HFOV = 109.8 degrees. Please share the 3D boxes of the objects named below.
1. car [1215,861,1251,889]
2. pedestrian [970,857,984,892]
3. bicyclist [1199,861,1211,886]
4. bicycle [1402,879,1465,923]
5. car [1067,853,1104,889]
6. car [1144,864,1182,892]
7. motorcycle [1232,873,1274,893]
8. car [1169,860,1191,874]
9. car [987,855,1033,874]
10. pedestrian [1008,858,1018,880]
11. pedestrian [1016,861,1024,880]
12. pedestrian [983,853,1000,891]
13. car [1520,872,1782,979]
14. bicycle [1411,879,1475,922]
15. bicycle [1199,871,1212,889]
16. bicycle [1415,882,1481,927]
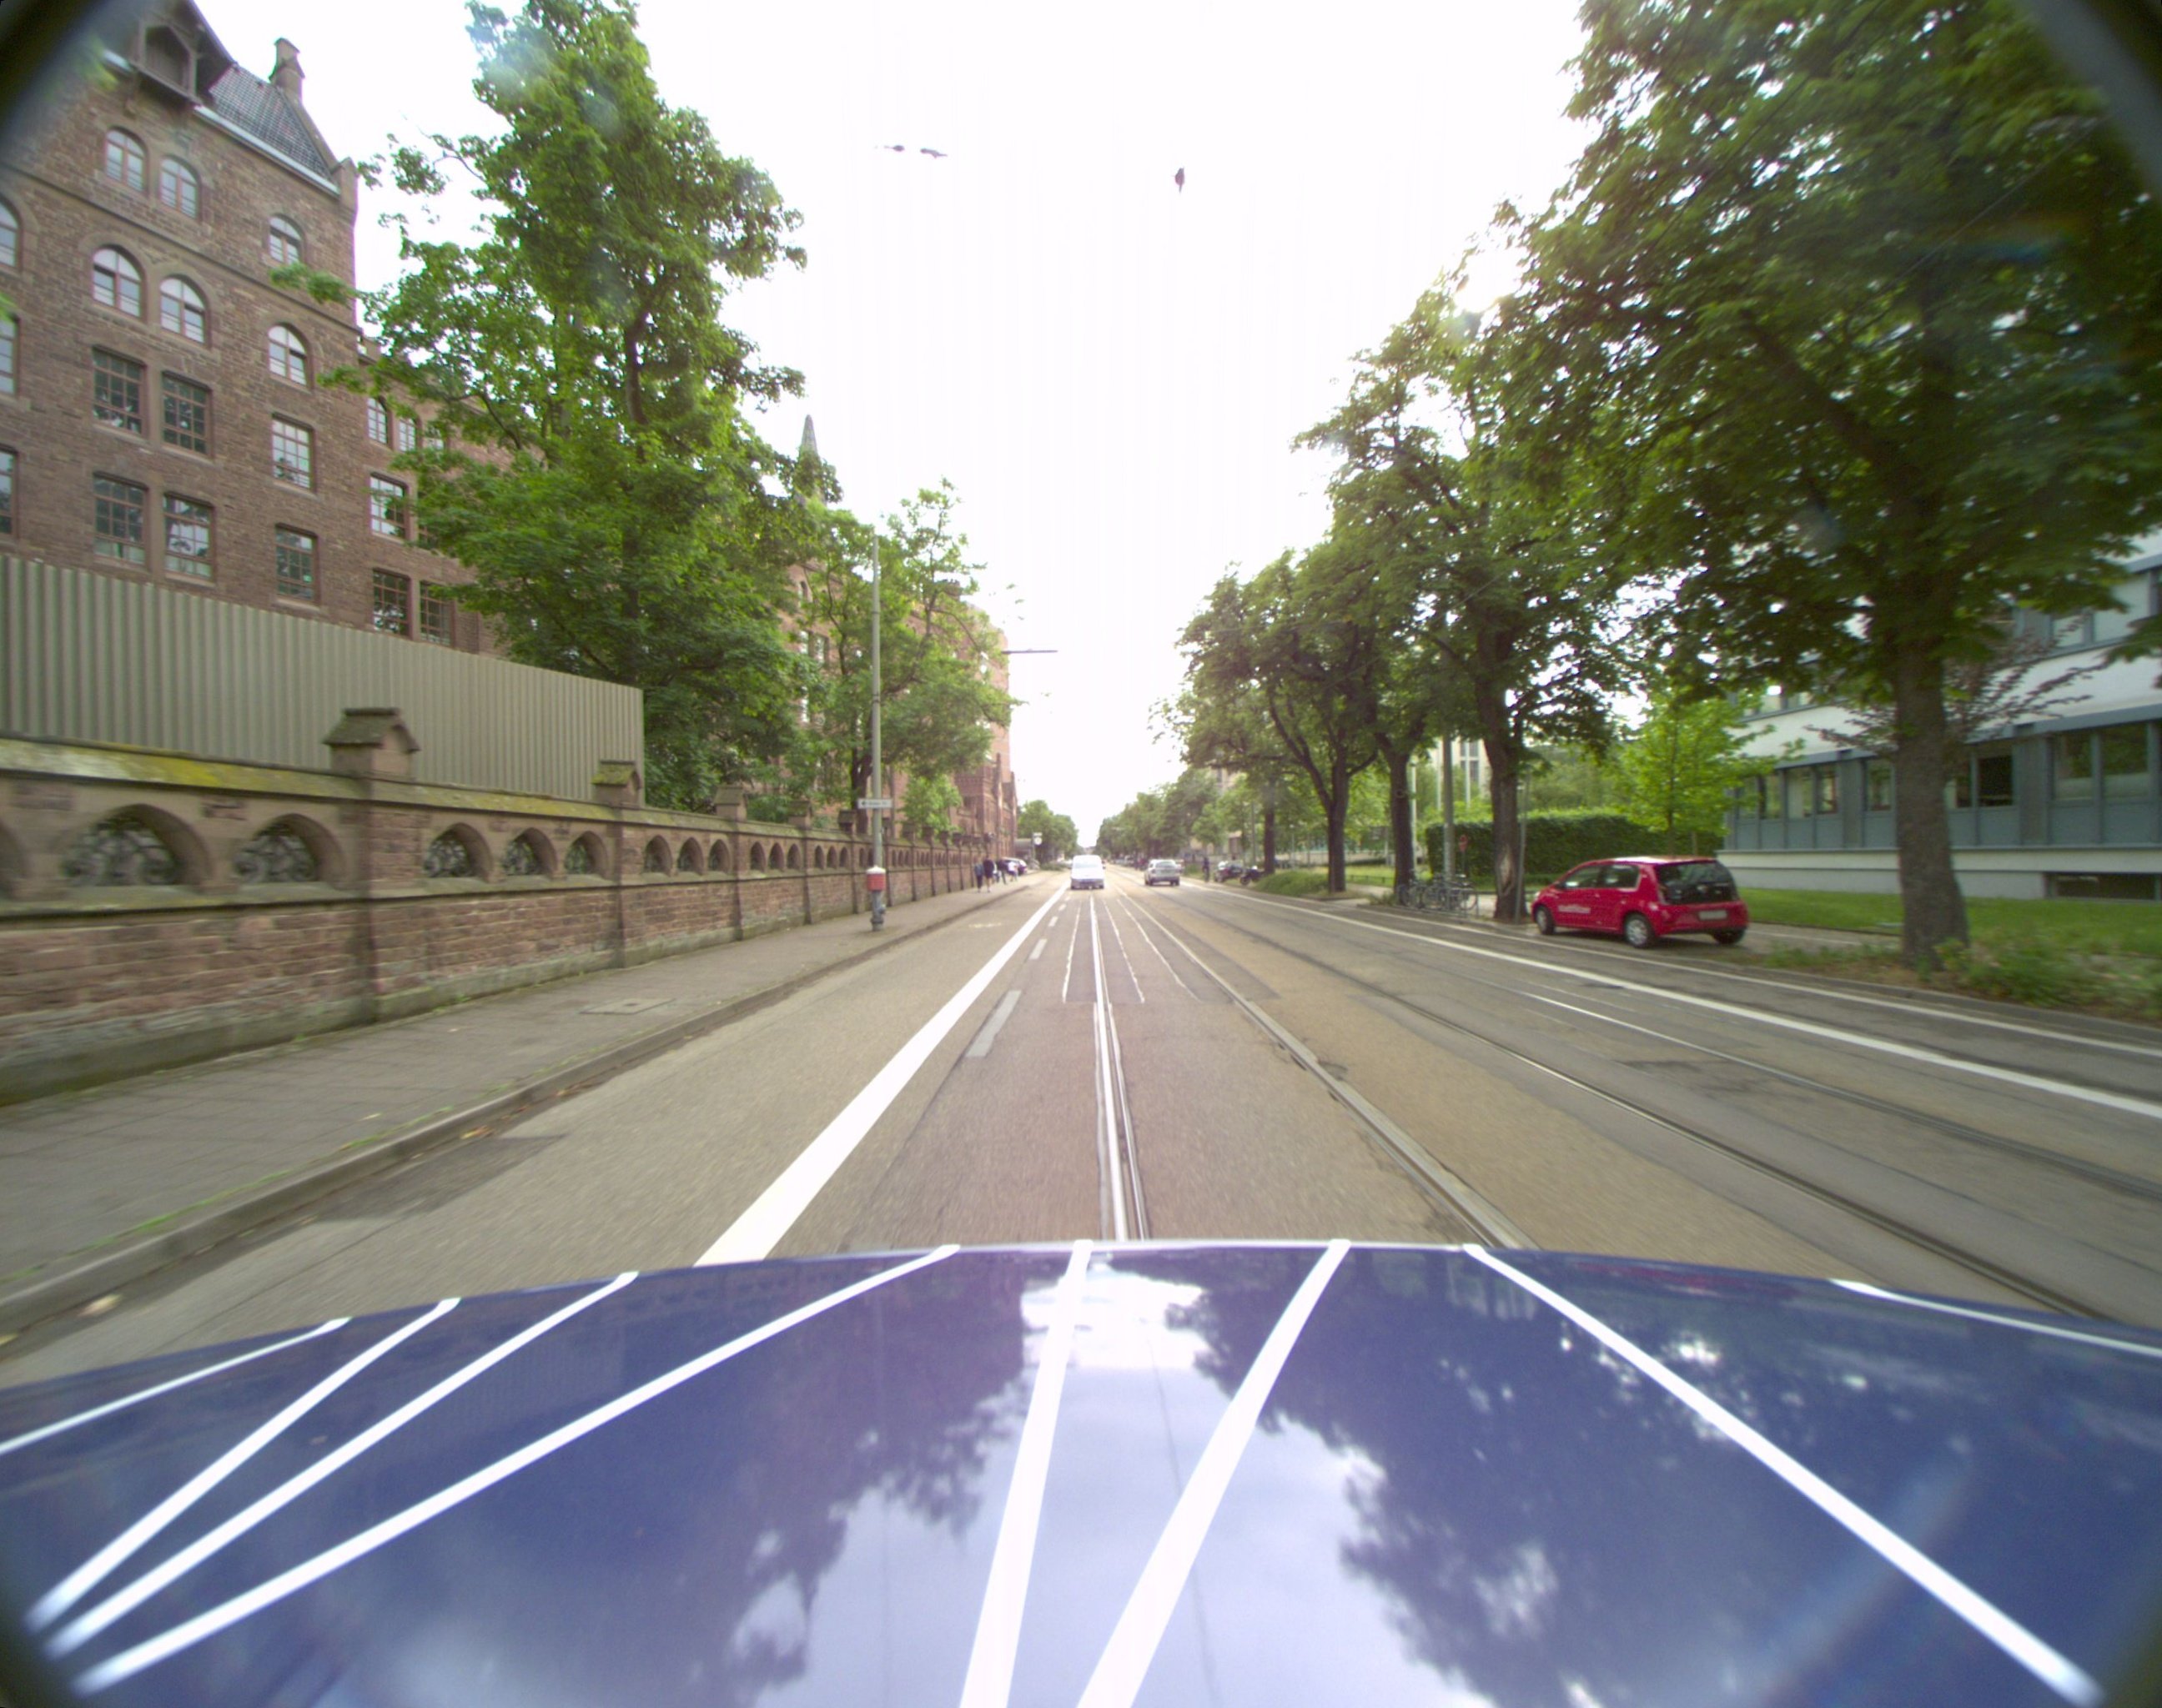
[{"bbox_3d":[10.218,1.358,51.208,1.815,1.699,4.001,-2,0,4],"label":"car"},{"bbox_3d":[-5.046,0.991,36.989,0.559,1.645,0.771,1,0,-2],"label":"pedestrian"},{"bbox_3d":[7.939,1.237,48.671,0.636,1.528,0.955,-2,1,5],"label":"bicyclist"},{"bbox_3d":[10.049,1.335,21.706,1.473,1.134,0.617,-2,1,0],"label":"bicycle"},{"bbox_3d":[0.272,0.888,42.585,1.850,1.797,4.936,-2,0,1],"label":"car"},{"bbox_3d":[4.822,1.406,45.058,1.745,1.490,4.261,-1,0,-1],"label":"car"},{"bbox_3d":[9.623,1.624,42.524,2.128,1.096,0.776,-2,1,42],"label":"motorcycle"},{"bbox_3d":[10.741,1.427,82.972,1.849,1.424,3.951,-2,0,0],"label":"car"},{"bbox_3d":[-6.869,0.985,74.106,3.992,1.608,2.002,3,0,12],"label":"car"},{"bbox_3d":[-5.393,1.198,60.230,0.669,1.703,0.997,3,0,-2],"label":"pedestrian"},{"bbox_3d":[-4.891,1.317,60.570,0.529,1.548,0.489,3,1,-2],"label":"pedestrian"},{"bbox_3d":[-4.386,0.884,37.169,0.723,1.833,0.897,1,1,-2],"label":"pedestrian"},{"bbox_3d":[9.760,1.128,13.433,1.632,1.439,3.756,-4,0,-3],"label":"car"},{"bbox_3d":[10.086,1.298,21.200,1.473,1.134,0.617,-1,1,0],"label":"bicycle"},{"bbox_3d":[7.958,1.674,48.678,0.636,1.044,1.994,-2,0,5],"label":"bicycle"},{"bbox_3d":[9.745,1.333,20.201,1.474,1.085,0.616,-2,1,-11],"label":"bicycle"}]
